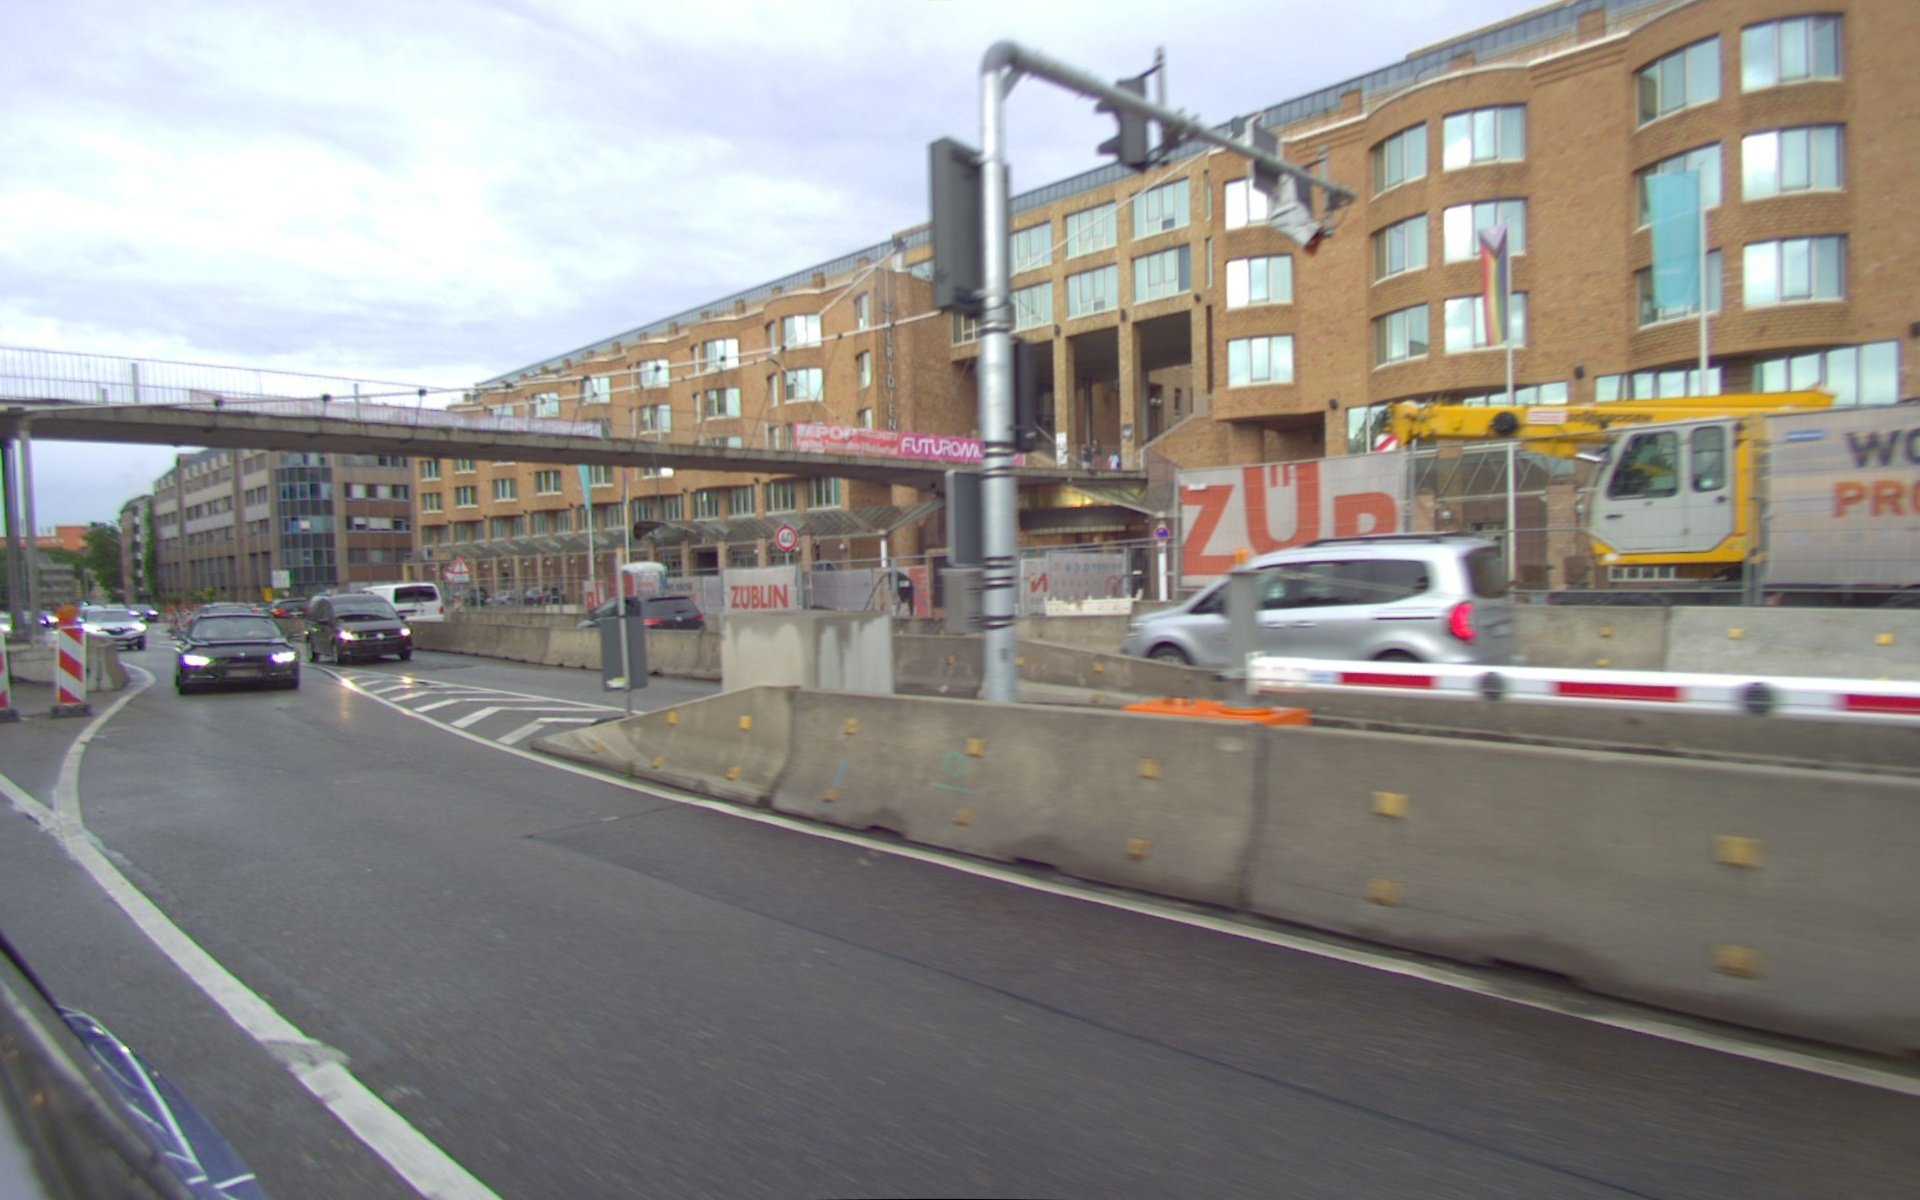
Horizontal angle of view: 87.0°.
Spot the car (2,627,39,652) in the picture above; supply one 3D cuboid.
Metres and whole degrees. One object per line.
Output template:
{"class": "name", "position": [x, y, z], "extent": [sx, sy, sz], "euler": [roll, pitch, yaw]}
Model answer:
{"class": "car", "position": [-66.098, 2.766, 71.187], "extent": [1.747, 1.545, 4.660], "euler": [-4, 2, -44]}

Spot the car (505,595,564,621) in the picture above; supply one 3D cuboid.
{"class": "car", "position": [-30.831, 0.579, 73.259], "extent": [5.049, 1.703, 1.972], "euler": [-2, 2, 43]}

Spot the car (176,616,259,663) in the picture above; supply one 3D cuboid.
{"class": "car", "position": [-27.694, 1.426, 37.692], "extent": [4.357, 1.545, 1.748], "euler": [-2, 2, 44]}

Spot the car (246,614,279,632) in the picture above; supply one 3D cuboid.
{"class": "car", "position": [-64.058, 2.146, 92.932], "extent": [4.366, 1.537, 1.740], "euler": [-2, 0, 45]}

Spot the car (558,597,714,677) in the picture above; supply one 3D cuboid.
{"class": "car", "position": [-7.566, 0.836, 23.464], "extent": [1.785, 1.635, 4.036], "euler": [-3, 0, -44]}

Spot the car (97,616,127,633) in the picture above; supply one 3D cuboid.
{"class": "car", "position": [-102.869, 3.024, 122.743], "extent": [4.867, 1.899, 1.973], "euler": [-2, 2, 41]}

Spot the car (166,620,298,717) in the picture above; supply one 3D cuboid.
{"class": "car", "position": [-13.651, 1.181, 19.043], "extent": [1.744, 1.454, 4.667], "euler": [-4, 2, -36]}

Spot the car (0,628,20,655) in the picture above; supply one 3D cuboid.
{"class": "car", "position": [-59.543, 2.615, 62.187], "extent": [1.744, 1.545, 4.669], "euler": [-4, 2, -33]}

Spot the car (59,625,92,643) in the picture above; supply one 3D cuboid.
{"class": "car", "position": [-82.489, 3.152, 94.361], "extent": [4.655, 1.545, 1.749], "euler": [-2, 2, 43]}

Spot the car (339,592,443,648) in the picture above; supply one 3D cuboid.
{"class": "car", "position": [-20.815, 0.759, 36.902], "extent": [5.302, 1.835, 1.786], "euler": [-2, 0, 44]}

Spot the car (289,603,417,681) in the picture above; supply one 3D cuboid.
{"class": "car", "position": [-16.135, 1.057, 26.811], "extent": [4.251, 1.813, 1.775], "euler": [-1, 2, 44]}

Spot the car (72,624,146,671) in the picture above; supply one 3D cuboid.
{"class": "car", "position": [-32.467, 1.763, 38.564], "extent": [1.747, 1.545, 4.659], "euler": [-4, 2, -44]}

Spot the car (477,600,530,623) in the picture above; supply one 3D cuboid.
{"class": "car", "position": [-34.705, 0.866, 76.943], "extent": [4.539, 1.605, 1.973], "euler": [-2, 2, 42]}

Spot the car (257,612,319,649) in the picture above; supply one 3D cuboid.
{"class": "car", "position": [-32.967, 1.448, 49.604], "extent": [1.785, 1.635, 3.906], "euler": [-3, 2, -44]}

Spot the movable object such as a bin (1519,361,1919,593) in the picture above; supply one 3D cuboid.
{"class": "movable object such as a bin", "position": [9.433, -1.302, 12.305], "extent": [4.290, 2.295, 2.005], "euler": [-1, -2, 41]}

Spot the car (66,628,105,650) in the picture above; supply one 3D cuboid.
{"class": "car", "position": [-68.014, 3.011, 78.699], "extent": [4.655, 1.545, 1.749], "euler": [-2, 2, 43]}

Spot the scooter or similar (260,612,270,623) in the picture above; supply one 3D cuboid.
{"class": "scooter or similar", "position": [-71.639, 1.806, 104.293], "extent": [1.041, 1.071, 0.445], "euler": [-2, 1, 32]}

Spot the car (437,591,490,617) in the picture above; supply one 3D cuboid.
{"class": "car", "position": [-40.033, 0.336, 81.602], "extent": [5.011, 1.900, 1.973], "euler": [-2, 1, 41]}

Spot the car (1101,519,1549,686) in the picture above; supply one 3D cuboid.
{"class": "car", "position": [3.995, 0.034, 11.645], "extent": [4.524, 1.561, 1.728], "euler": [-1, 1, 44]}

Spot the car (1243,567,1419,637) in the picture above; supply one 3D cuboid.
{"class": "car", "position": [9.860, 0.092, 27.031], "extent": [3.998, 1.706, 1.972], "euler": [-1, -2, 41]}

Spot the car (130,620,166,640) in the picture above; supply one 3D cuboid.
{"class": "car", "position": [-71.943, 2.648, 89.597], "extent": [4.655, 1.545, 1.749], "euler": [-2, 2, 43]}
